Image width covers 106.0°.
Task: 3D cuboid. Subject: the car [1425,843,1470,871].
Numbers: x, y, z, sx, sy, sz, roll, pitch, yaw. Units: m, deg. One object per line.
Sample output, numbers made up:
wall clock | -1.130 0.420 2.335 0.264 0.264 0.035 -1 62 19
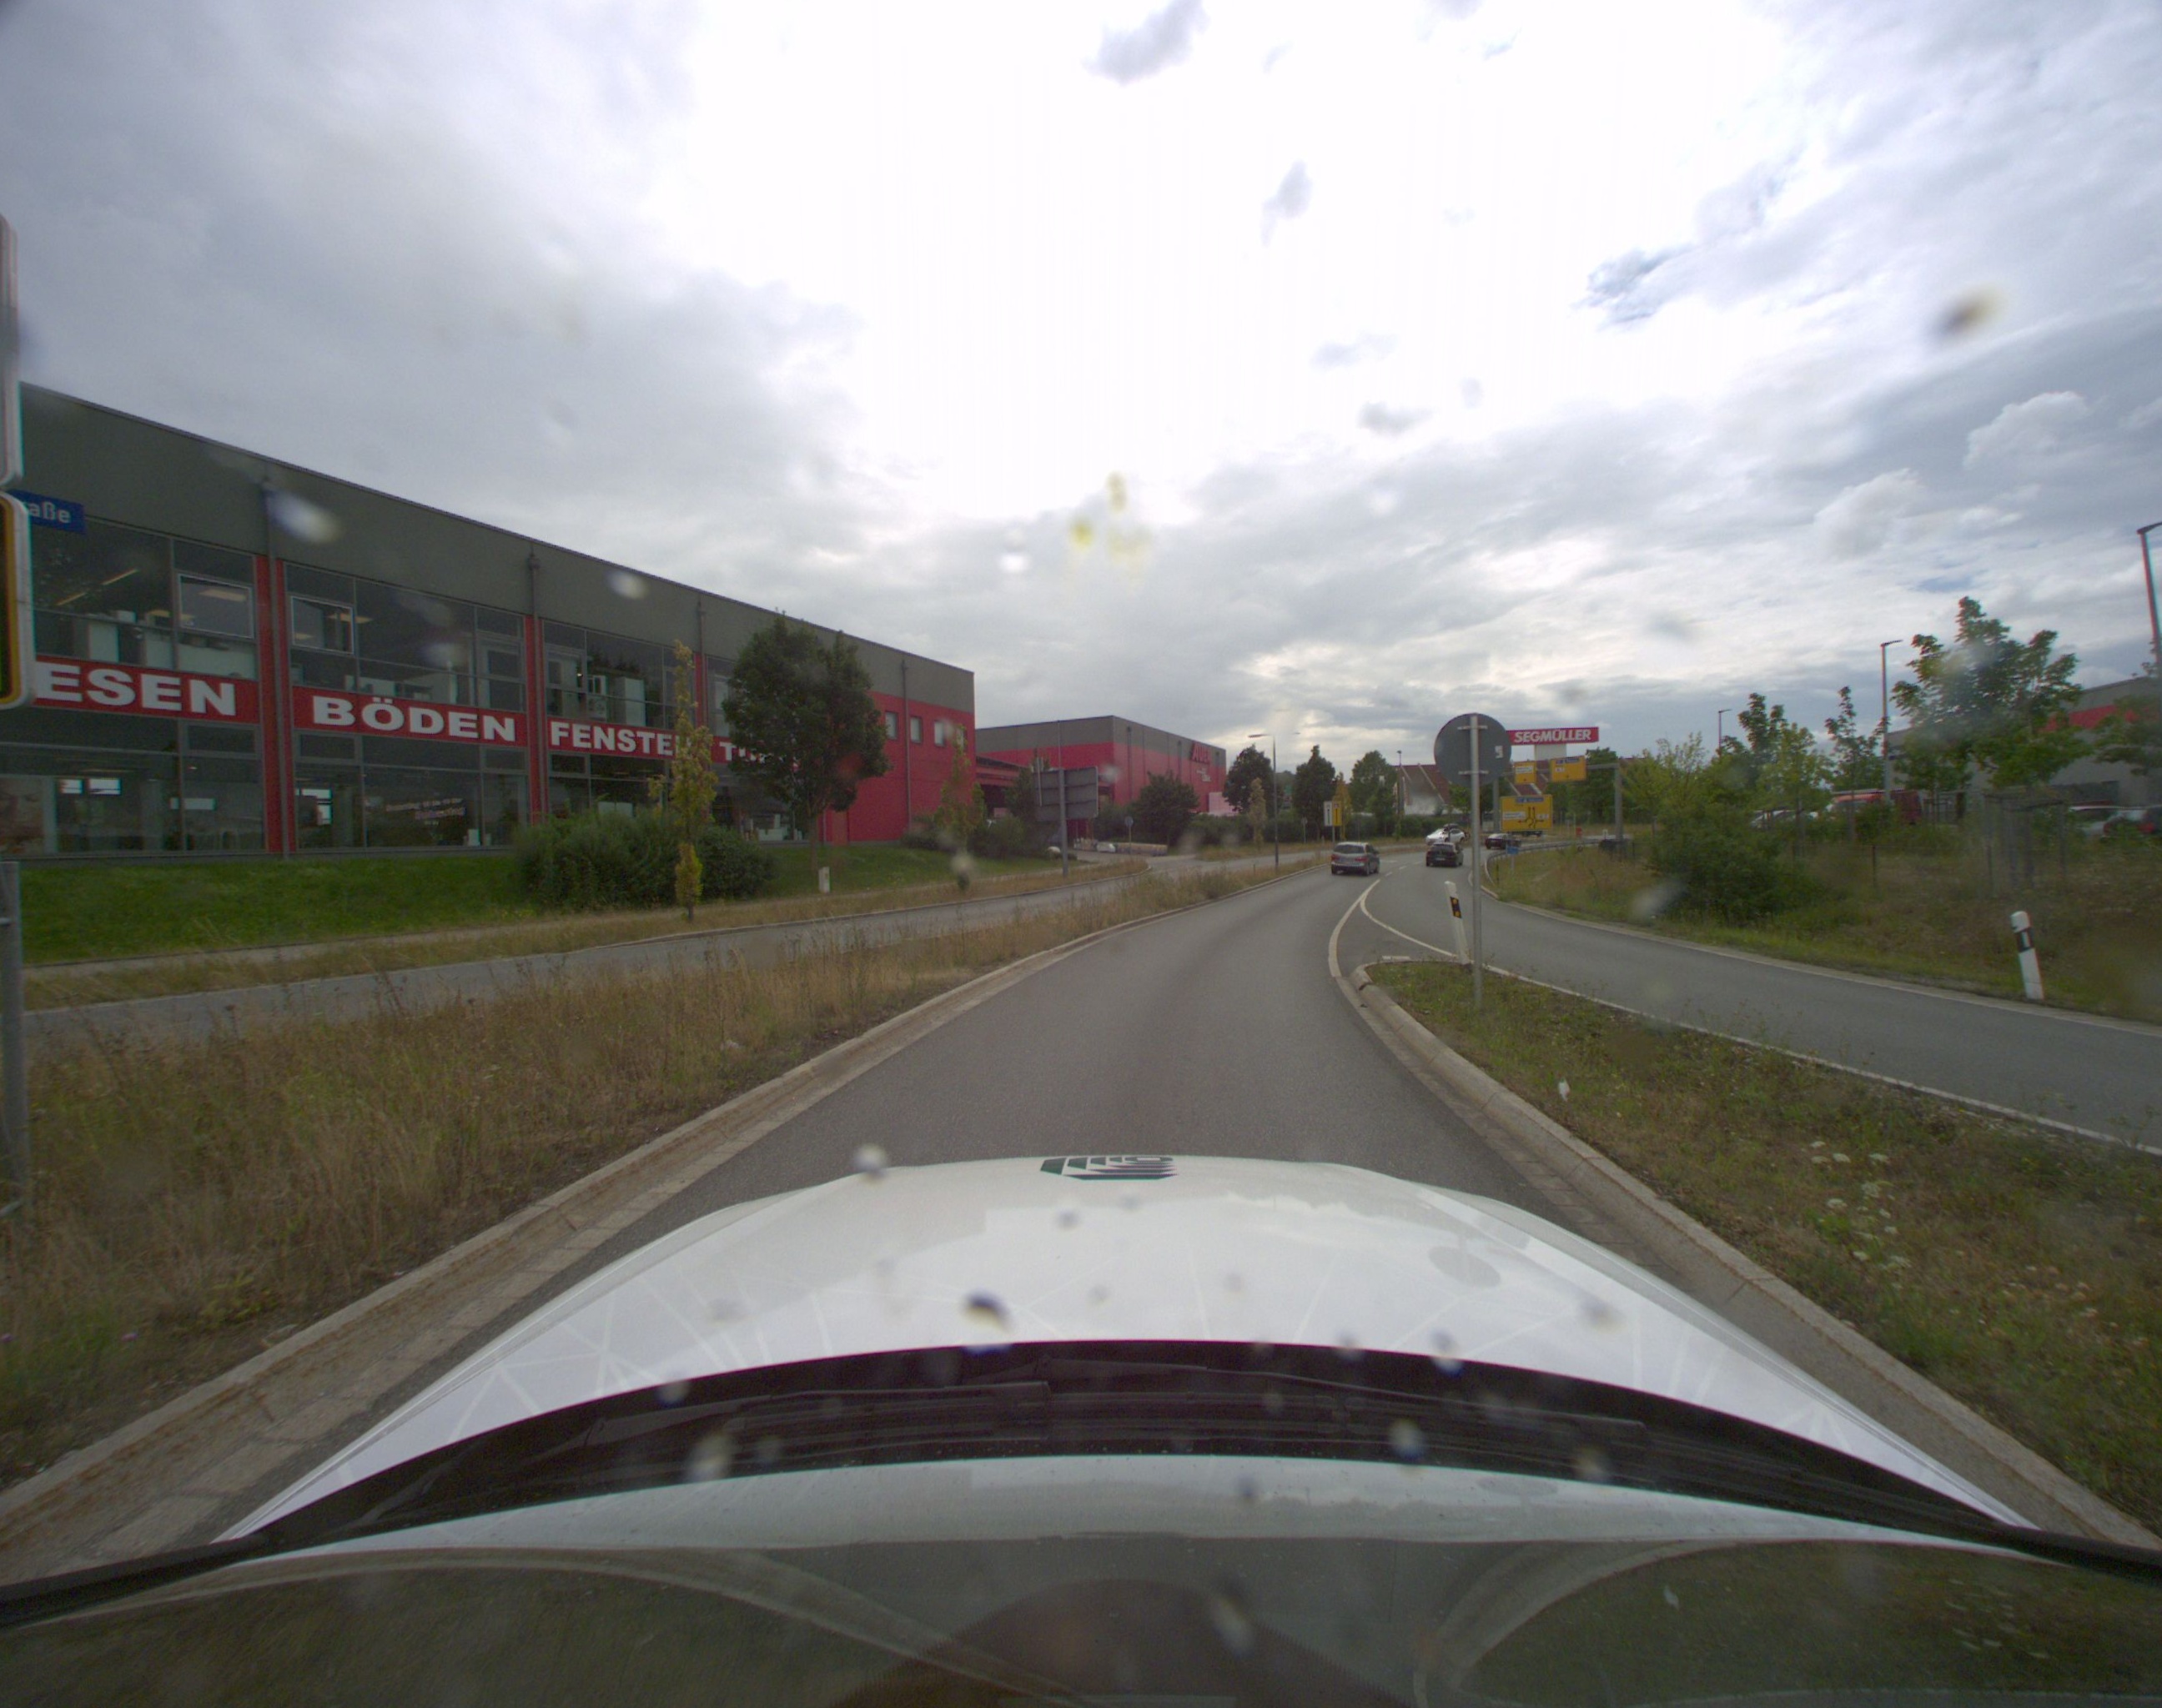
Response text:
car | 21.889 0.144 48.620 1.851 1.605 3.758 -1 0 34

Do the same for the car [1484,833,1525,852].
car | 36.407 -0.986 69.913 4.022 1.618 1.889 -1 0 -43

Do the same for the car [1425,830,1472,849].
car | 35.326 -1.413 78.273 4.655 1.625 1.896 -1 4 -33

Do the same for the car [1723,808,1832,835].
car | 38.330 -1.784 44.864 4.559 1.400 1.704 -1 1 0

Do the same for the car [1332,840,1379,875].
car | 13.728 0.151 40.556 1.751 1.616 3.944 -1 0 25
